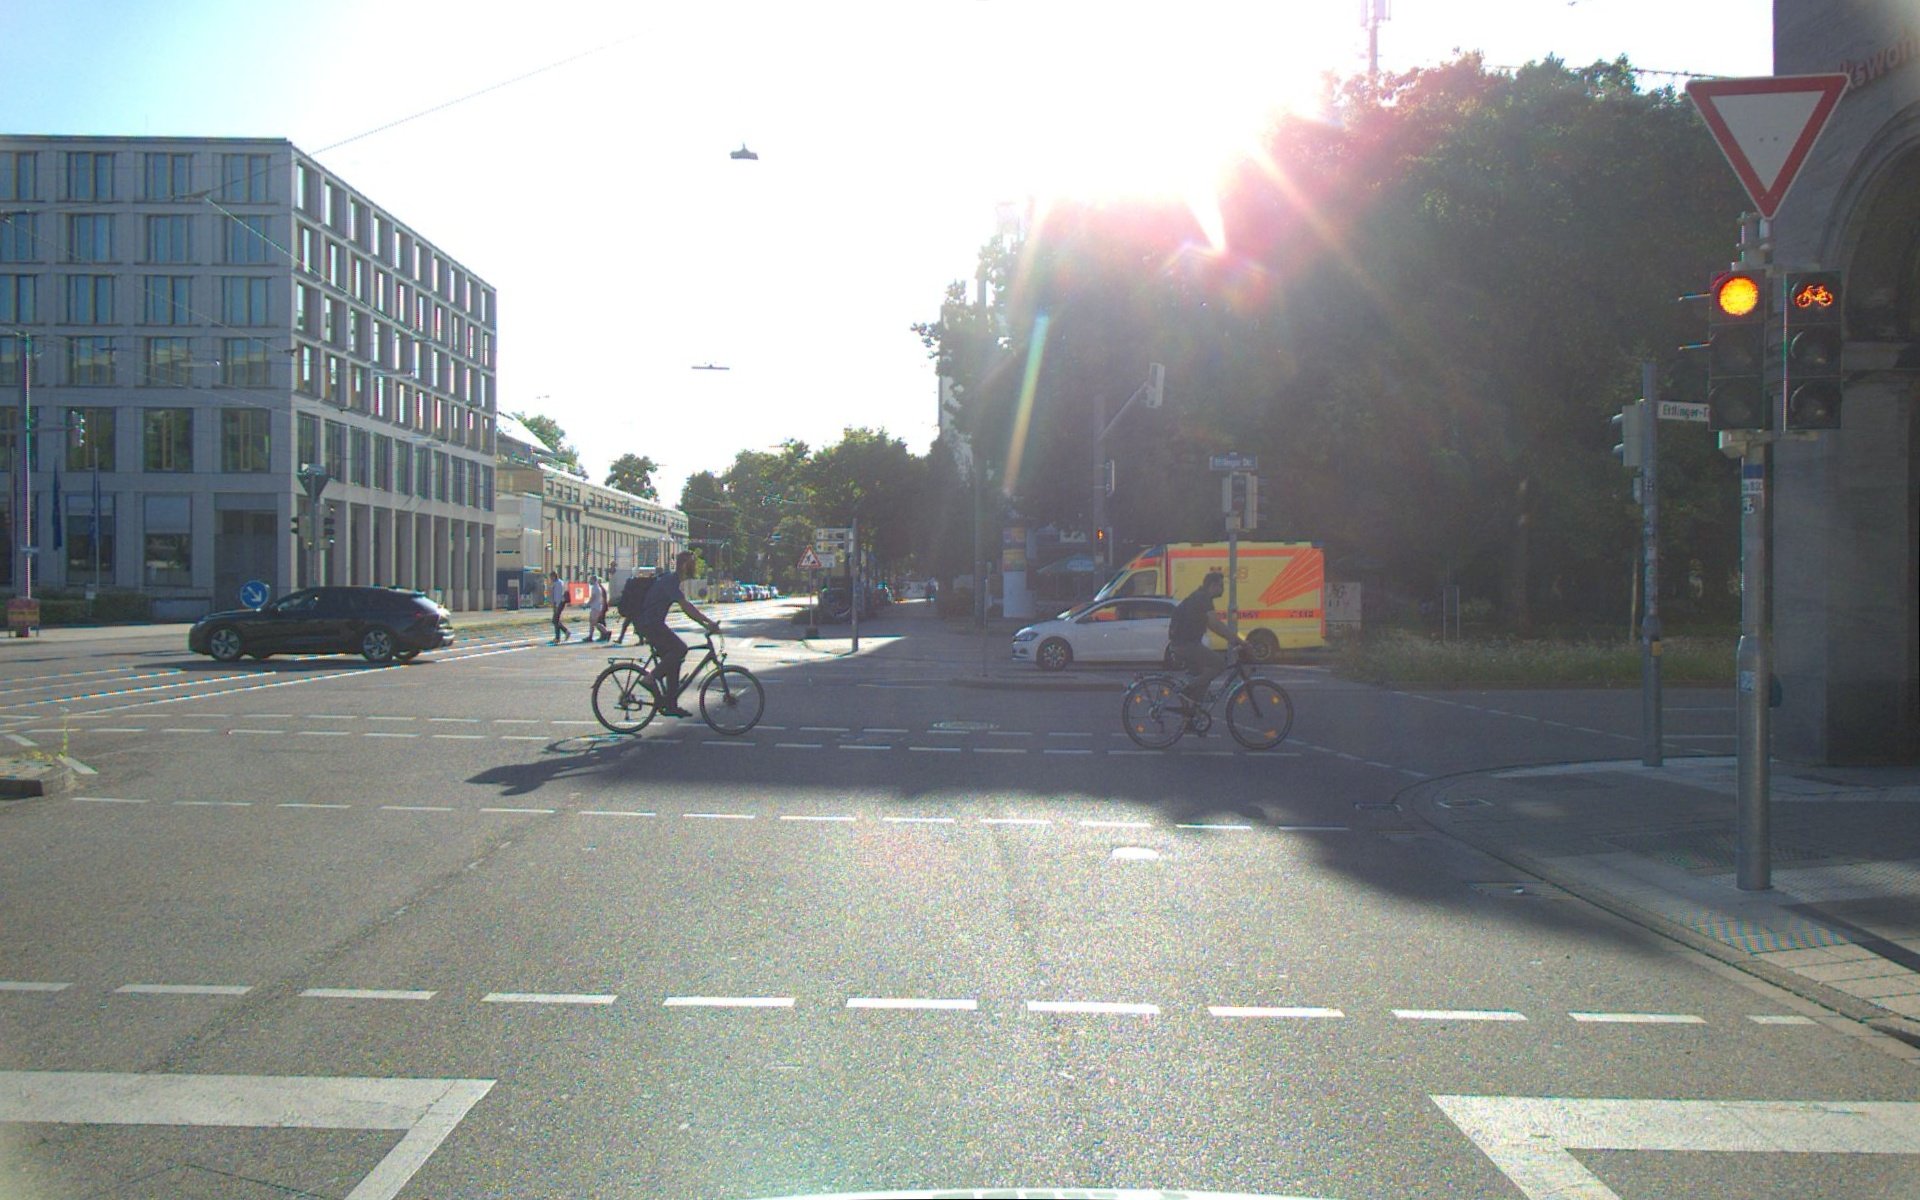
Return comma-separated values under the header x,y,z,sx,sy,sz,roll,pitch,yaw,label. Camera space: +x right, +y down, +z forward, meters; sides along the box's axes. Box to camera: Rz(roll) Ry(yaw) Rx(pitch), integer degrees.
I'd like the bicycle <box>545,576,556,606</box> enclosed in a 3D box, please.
x,y,z,sx,sy,sz,roll,pitch,yaw,label
-32.115,-0.694,129.817,0.559,2.336,1.422,0,0,-2,bicycle

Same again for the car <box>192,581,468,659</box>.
x,y,z,sx,sy,sz,roll,pitch,yaw,label
-12.302,0.418,32.554,4.641,1.440,1.998,1,-2,-3,car

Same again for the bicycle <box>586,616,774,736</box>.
x,y,z,sx,sy,sz,roll,pitch,yaw,label
-2.885,0.779,17.196,1.836,1.178,0.766,1,0,-4,bicycle

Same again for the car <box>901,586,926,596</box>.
x,y,z,sx,sy,sz,roll,pitch,yaw,label
-5.881,-1.121,211.103,3.153,1.285,1.372,1,0,-3,car

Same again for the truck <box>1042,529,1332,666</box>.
x,y,z,sx,sy,sz,roll,pitch,yaw,label
5.169,-0.057,38.443,6.338,3.068,2.724,0,0,-2,truck

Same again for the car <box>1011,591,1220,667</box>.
x,y,z,sx,sy,sz,roll,pitch,yaw,label
3.060,0.558,32.953,3.962,1.459,1.631,0,0,-3,car

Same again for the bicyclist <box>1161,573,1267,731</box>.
x,y,z,sx,sy,sz,roll,pitch,yaw,label
2.563,0.506,16.782,0.981,1.538,0.767,1,2,3,bicyclist

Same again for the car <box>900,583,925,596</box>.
x,y,z,sx,sy,sz,roll,pitch,yaw,label
-6.115,-1.312,213.354,3.152,1.616,1.445,1,0,-5,car

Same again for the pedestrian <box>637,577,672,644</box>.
x,y,z,sx,sy,sz,roll,pitch,yaw,label
-8.378,0.294,45.375,0.851,1.835,0.532,0,0,4,pedestrian

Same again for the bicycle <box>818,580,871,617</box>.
x,y,z,sx,sy,sz,roll,pitch,yaw,label
-5.687,-0.085,81.368,2.495,1.774,1.037,1,0,-1,bicycle

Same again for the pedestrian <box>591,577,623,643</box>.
x,y,z,sx,sy,sz,roll,pitch,yaw,label
-9.828,0.285,46.055,0.723,1.835,0.532,0,0,4,pedestrian

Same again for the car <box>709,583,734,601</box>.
x,y,z,sx,sy,sz,roll,pitch,yaw,label
-22.473,-0.761,156.012,1.856,1.635,4.498,0,0,-3,car

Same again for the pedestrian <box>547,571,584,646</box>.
x,y,z,sx,sy,sz,roll,pitch,yaw,label
-10.438,0.222,43.740,0.785,1.951,0.637,0,0,4,pedestrian

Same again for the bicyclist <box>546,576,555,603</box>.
x,y,z,sx,sy,sz,roll,pitch,yaw,label
-32.116,-0.809,129.670,0.559,2.059,0.761,0,0,-2,bicyclist

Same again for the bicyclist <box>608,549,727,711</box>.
x,y,z,sx,sy,sz,roll,pitch,yaw,label
-3.029,0.303,17.201,1.101,1.622,0.766,1,0,-4,bicyclist

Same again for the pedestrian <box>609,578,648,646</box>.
x,y,z,sx,sy,sz,roll,pitch,yaw,label
-8.909,0.321,44.467,0.852,1.835,0.664,0,0,4,pedestrian

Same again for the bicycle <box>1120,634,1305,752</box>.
x,y,z,sx,sy,sz,roll,pitch,yaw,label
2.538,0.929,16.795,1.775,1.104,0.767,1,2,3,bicycle

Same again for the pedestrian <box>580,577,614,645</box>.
x,y,z,sx,sy,sz,roll,pitch,yaw,label
-9.932,0.304,45.255,0.723,1.835,0.716,0,0,4,pedestrian
